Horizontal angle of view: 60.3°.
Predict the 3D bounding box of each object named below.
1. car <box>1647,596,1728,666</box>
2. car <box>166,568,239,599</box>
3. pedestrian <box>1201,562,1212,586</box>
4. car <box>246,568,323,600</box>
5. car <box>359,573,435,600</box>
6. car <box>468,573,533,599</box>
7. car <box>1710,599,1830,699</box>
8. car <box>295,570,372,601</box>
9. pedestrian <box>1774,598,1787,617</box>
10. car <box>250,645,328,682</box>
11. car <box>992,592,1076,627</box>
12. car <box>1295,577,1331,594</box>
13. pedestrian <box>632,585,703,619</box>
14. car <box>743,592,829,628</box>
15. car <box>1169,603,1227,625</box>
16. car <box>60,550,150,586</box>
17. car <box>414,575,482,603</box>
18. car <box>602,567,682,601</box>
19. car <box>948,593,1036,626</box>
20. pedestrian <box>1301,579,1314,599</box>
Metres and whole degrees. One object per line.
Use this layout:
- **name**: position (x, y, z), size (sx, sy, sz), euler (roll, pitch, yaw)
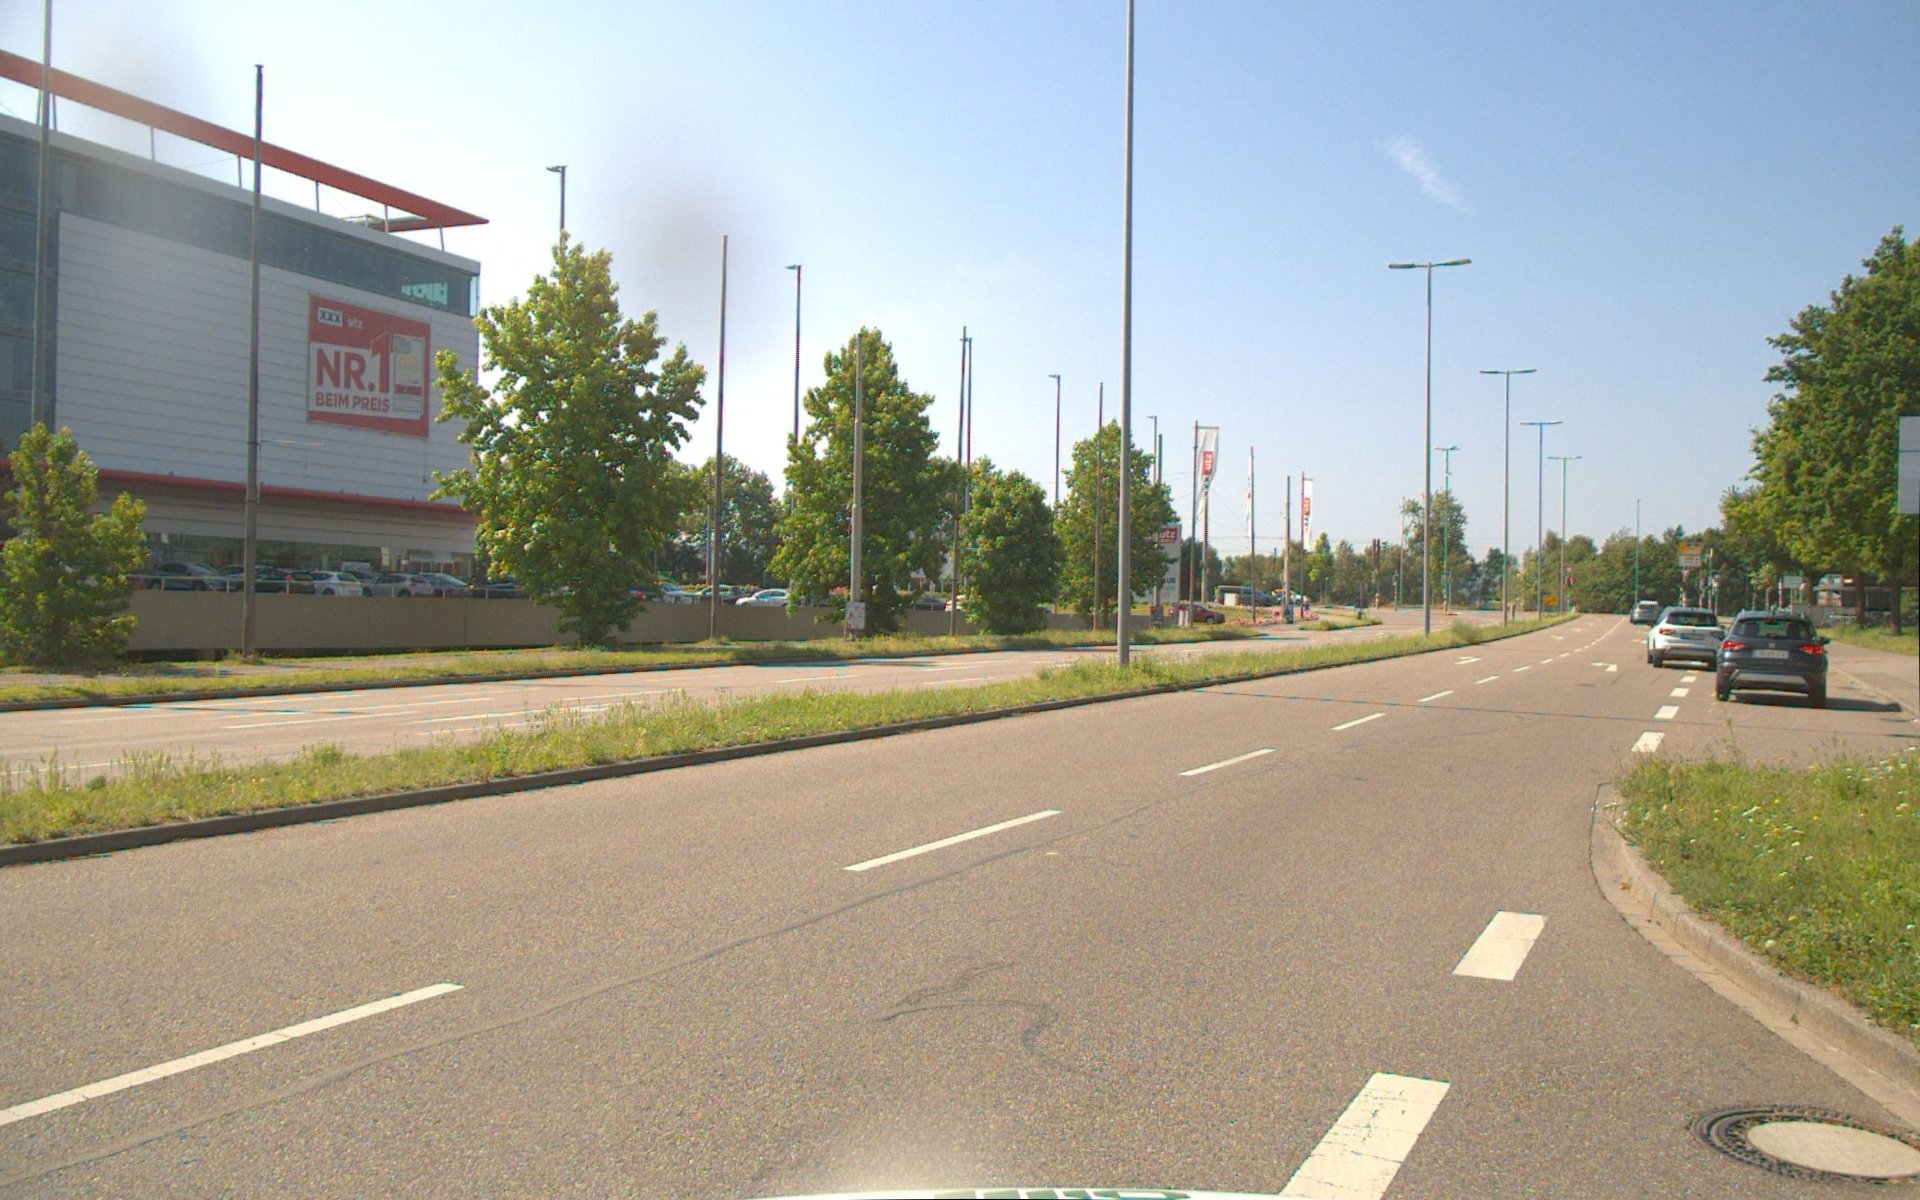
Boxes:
- **car**: position (18.624, 0.750, 42.456), size (1.597, 1.524, 3.872), euler (1, 3, 20)
- **car**: position (-35.382, -0.784, 77.253), size (3.071, 1.353, 1.301), euler (1, -1, 22)
- **pedestrian**: position (21.774, -2.290, 145.927), size (0.702, 2.006, 0.917), euler (1, -1, 27)
- **car**: position (-30.829, -0.726, 75.488), size (3.024, 1.353, 1.515), euler (1, -1, 22)
- **car**: position (-27.927, -0.670, 82.046), size (3.427, 1.220, 1.480), euler (1, -1, 22)
- **car**: position (-24.436, -0.728, 88.055), size (3.025, 1.316, 1.515), euler (1, -1, 22)
- **car**: position (13.993, 0.791, 28.699), size (1.636, 1.550, 3.376), euler (2, 1, 23)
- **car**: position (-29.459, -0.686, 77.827), size (3.024, 1.353, 1.703), euler (1, -1, 22)
- **pedestrian**: position (67.040, 0.596, 135.132), size (0.759, 1.537, 1.004), euler (1, 2, 34)
- **car**: position (-19.681, 1.847, 48.519), size (1.897, 0.992, 1.071), euler (1, -1, 21)
- **car**: position (4.161, 0.545, 92.961), size (4.323, 1.875, 1.945), euler (1, 0, 23)
- **car**: position (33.944, -1.390, 159.115), size (3.273, 1.526, 1.410), euler (1, -1, 19)
- **pedestrian**: position (-18.563, 0.151, 104.906), size (3.956, 2.049, 1.974), euler (2, -1, -37)
- **car**: position (-10.173, 0.589, 96.718), size (4.572, 2.049, 2.030), euler (0, 0, 20)
- **car**: position (18.320, 1.095, 127.261), size (4.096, 1.633, 1.827), euler (1, -1, 19)
- **car**: position (-34.679, -1.292, 67.090), size (3.148, 1.353, 1.515), euler (1, -1, 22)
- **car**: position (-26.179, -0.549, 84.600), size (3.024, 1.353, 1.515), euler (1, -1, 22)
- **car**: position (-10.763, -0.531, 56.023), size (2.461, 1.078, 1.071), euler (1, -1, 21)
- **car**: position (1.696, 0.531, 88.728), size (4.322, 1.656, 1.871), euler (1, -2, 21)
- **pedestrian**: position (29.644, -0.952, 141.063), size (0.825, 1.737, 0.902), euler (0, 0, 35)
